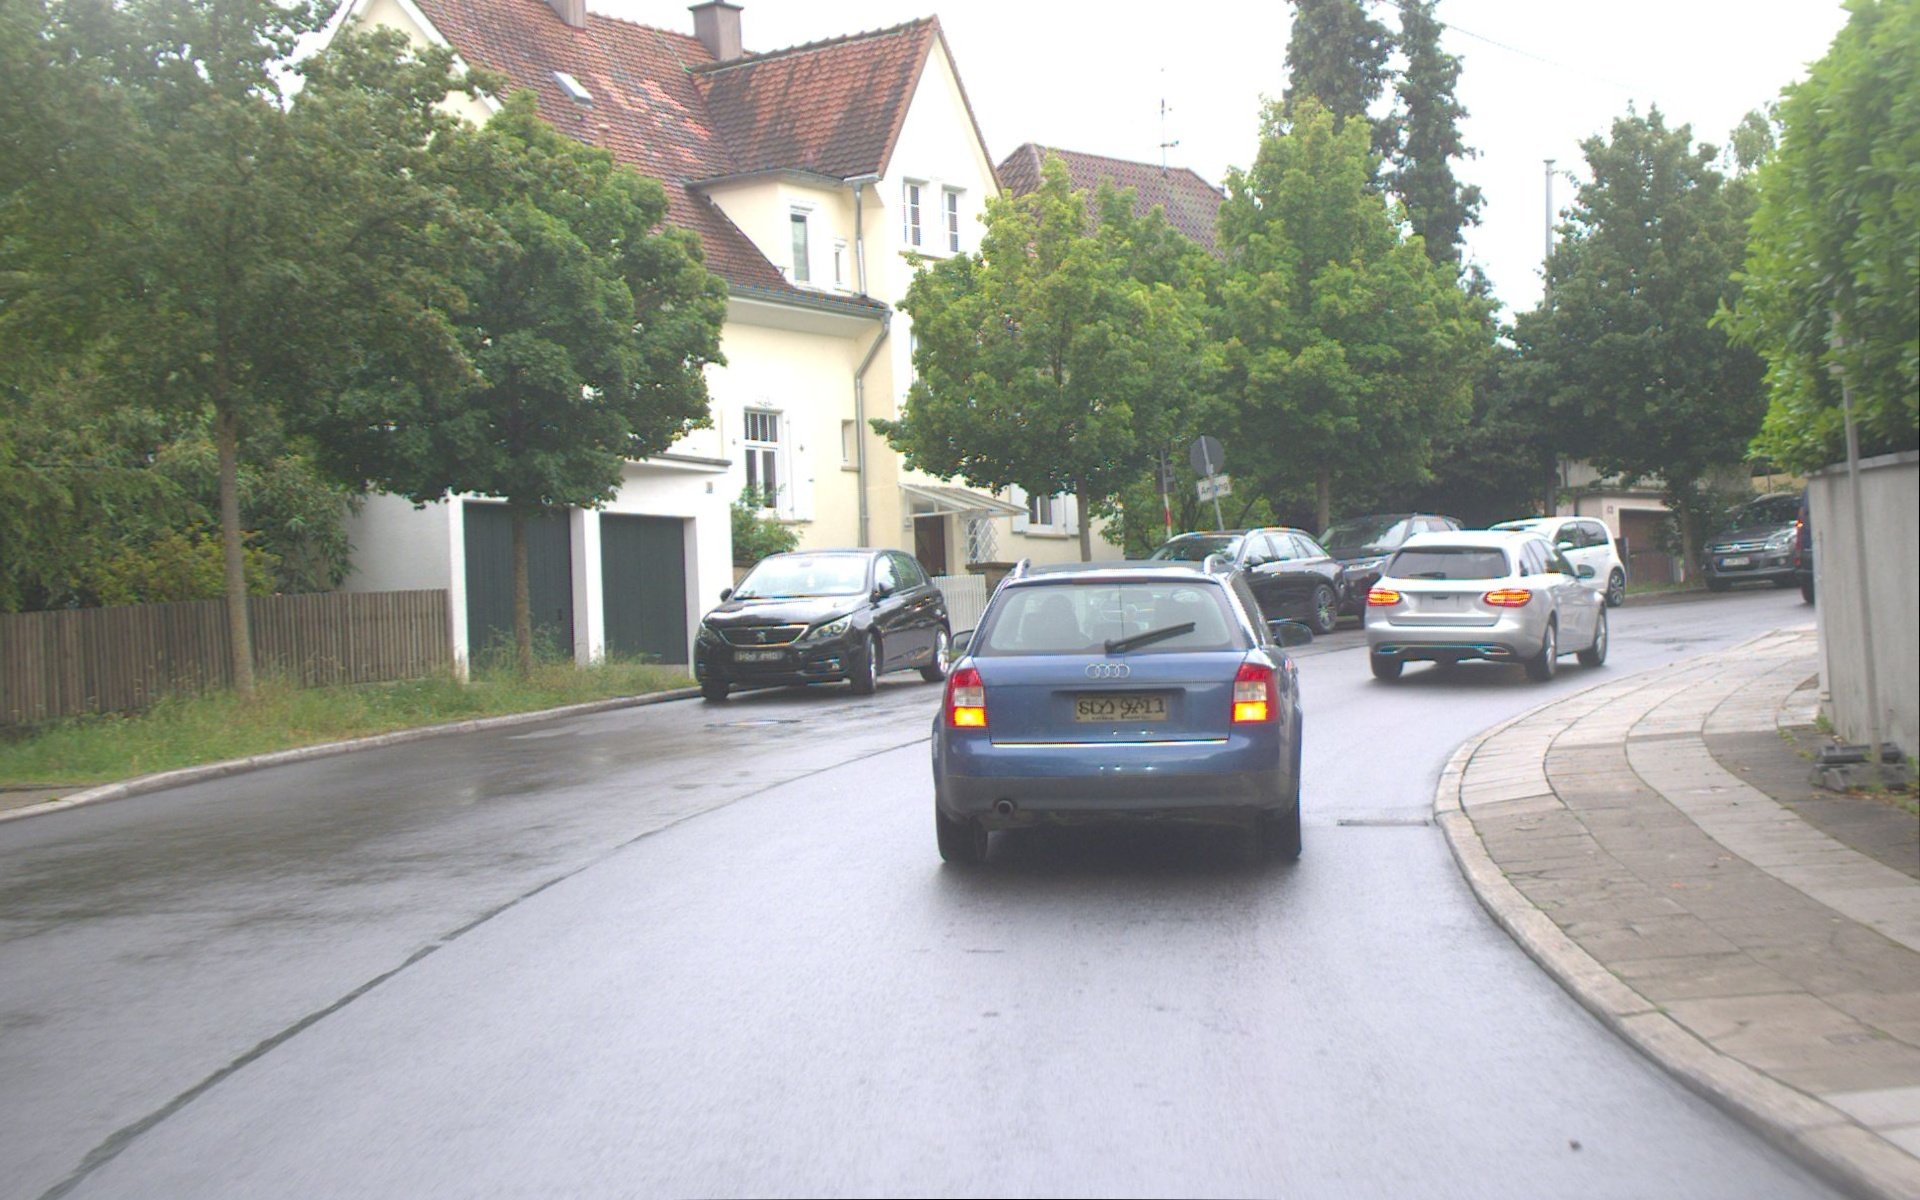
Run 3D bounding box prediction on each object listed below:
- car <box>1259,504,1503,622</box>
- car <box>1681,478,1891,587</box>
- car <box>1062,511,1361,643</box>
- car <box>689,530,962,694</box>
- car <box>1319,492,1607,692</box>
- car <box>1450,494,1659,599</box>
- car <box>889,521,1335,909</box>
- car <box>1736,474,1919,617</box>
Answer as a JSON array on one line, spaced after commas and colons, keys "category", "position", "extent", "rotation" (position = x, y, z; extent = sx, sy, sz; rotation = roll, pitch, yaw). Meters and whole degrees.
[{"category": "car", "position": [6.162, -0.559, 50.003], "extent": [1.737, 1.540, 4.202], "rotation": [-2, 1, 34]}, {"category": "car", "position": [14.743, -1.218, 61.213], "extent": [1.805, 1.663, 4.417], "rotation": [-5, 0, 39]}, {"category": "car", "position": [3.426, -0.338, 45.819], "extent": [1.870, 1.540, 4.896], "rotation": [-2, 1, 32]}, {"category": "car", "position": [-1.314, 0.085, 35.205], "extent": [1.671, 1.461, 3.892], "rotation": [-3, 1, 14]}, {"category": "car", "position": [5.184, -0.127, 34.956], "extent": [1.977, 1.629, 4.232], "rotation": [-3, 3, 20]}, {"category": "car", "position": [9.494, -0.871, 54.700], "extent": [1.737, 1.461, 3.993], "rotation": [-2, 2, 34]}, {"category": "car", "position": [0.888, 0.478, 17.315], "extent": [1.734, 1.461, 3.999], "rotation": [-4, 3, 9]}, {"category": "car", "position": [13.042, -0.840, 51.064], "extent": [1.736, 1.762, 4.229], "rotation": [-3, 4, 29]}]
